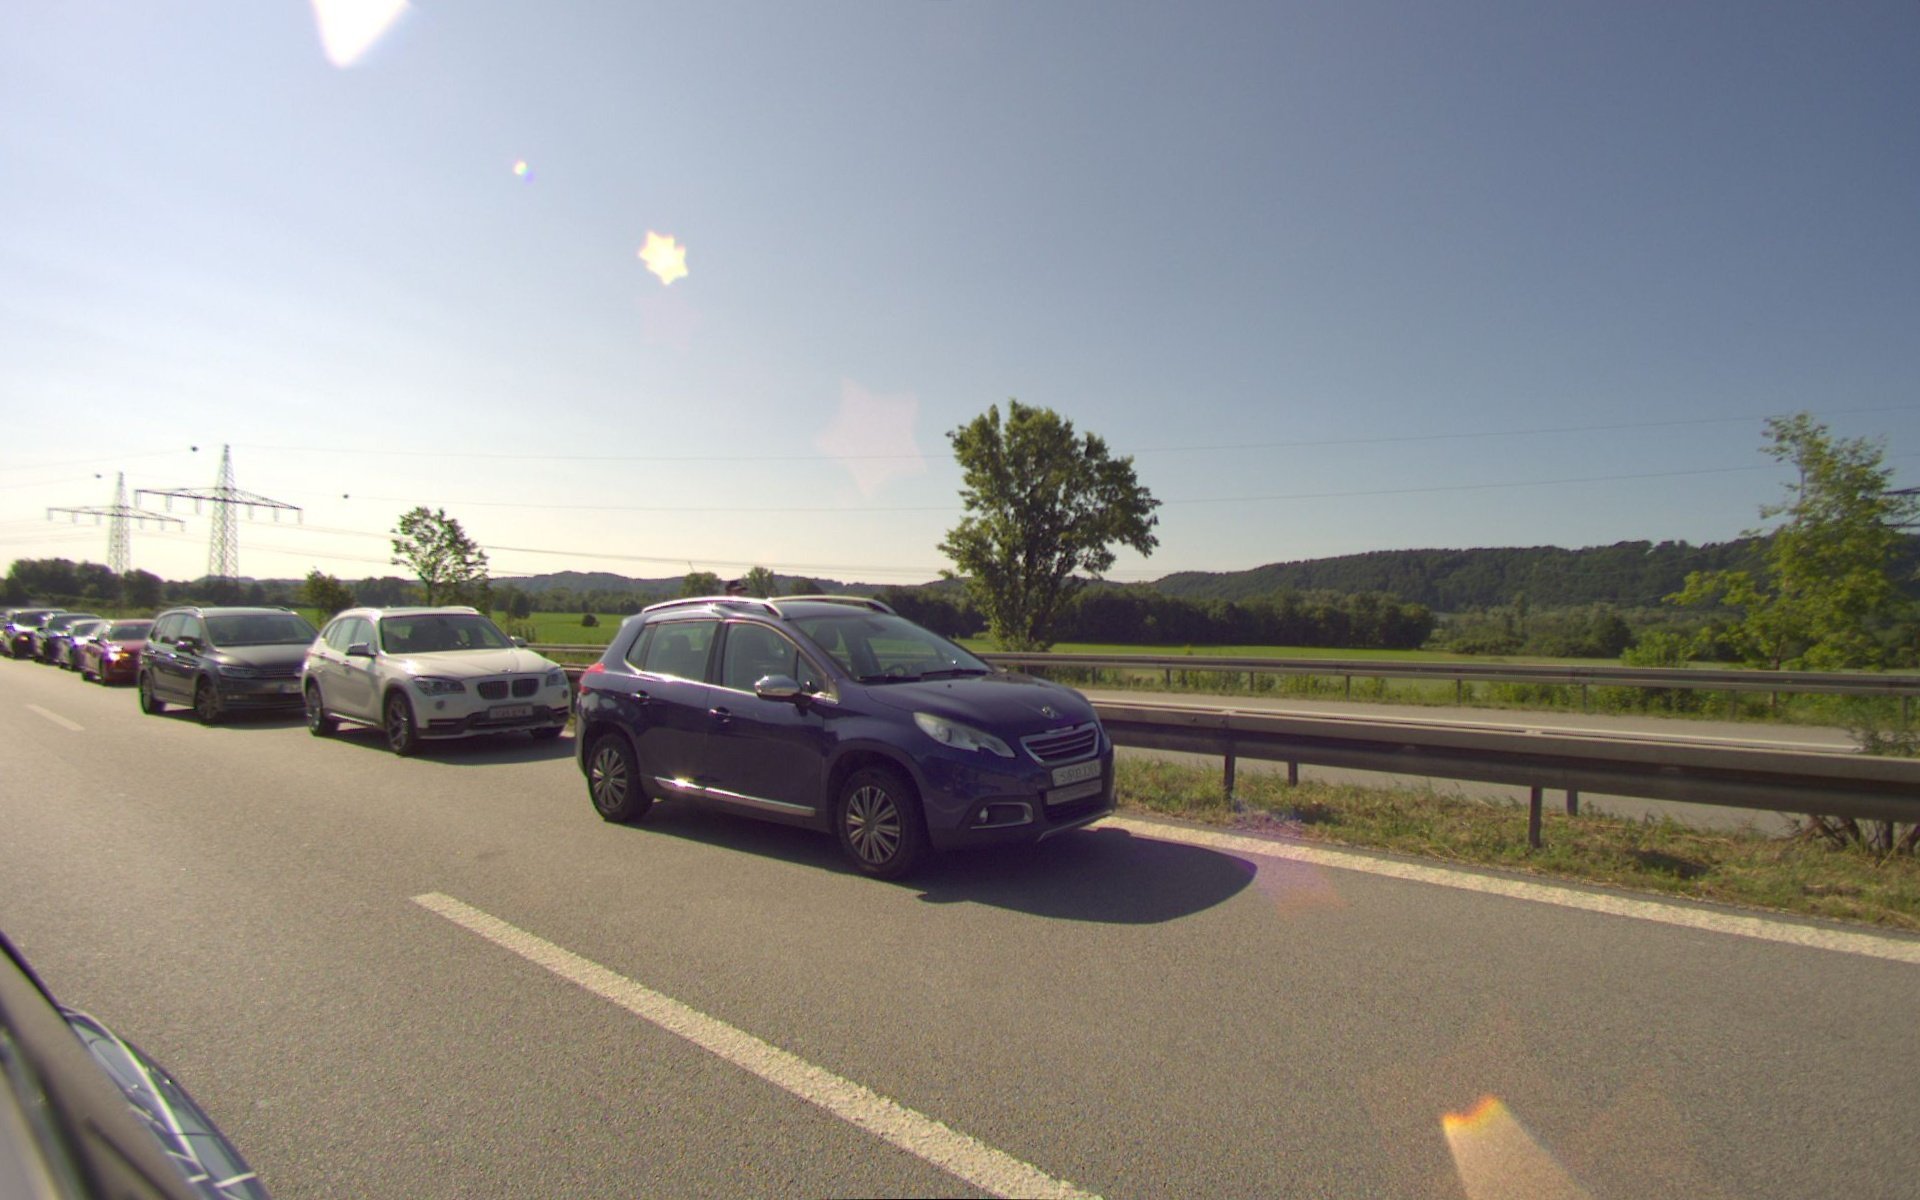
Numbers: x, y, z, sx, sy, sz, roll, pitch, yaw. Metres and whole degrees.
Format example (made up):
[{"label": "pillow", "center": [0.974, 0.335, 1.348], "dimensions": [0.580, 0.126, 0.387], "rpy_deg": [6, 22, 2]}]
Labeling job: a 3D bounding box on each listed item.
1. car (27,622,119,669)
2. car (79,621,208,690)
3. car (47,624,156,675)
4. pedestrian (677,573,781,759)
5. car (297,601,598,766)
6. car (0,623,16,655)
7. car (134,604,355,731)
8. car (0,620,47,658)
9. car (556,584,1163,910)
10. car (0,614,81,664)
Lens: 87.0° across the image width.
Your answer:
[{"label": "car", "center": [-29.715, 1.487, 33.872], "dimensions": [3.999, 1.466, 1.869], "rpy_deg": [-1, -2, 42]}, {"label": "car", "center": [-19.073, 1.240, 23.582], "dimensions": [4.117, 1.470, 1.795], "rpy_deg": [-1, -2, 43]}, {"label": "car", "center": [-25.254, 1.408, 29.725], "dimensions": [3.998, 1.409, 1.870], "rpy_deg": [-1, -2, 41]}, {"label": "pedestrian", "center": [-2.309, 0.634, 10.118], "dimensions": [0.814, 1.764, 0.663], "rpy_deg": [-1, -2, 41]}, {"label": "car", "center": [-6.113, 0.848, 11.858], "dimensions": [4.163, 1.586, 1.808], "rpy_deg": [-1, -1, 42]}, {"label": "car", "center": [-47.401, 1.886, 49.080], "dimensions": [3.998, 1.542, 1.973], "rpy_deg": [-1, -2, 41]}, {"label": "car", "center": [-10.803, 0.919, 15.169], "dimensions": [4.115, 1.628, 1.796], "rpy_deg": [-1, -1, 41]}, {"label": "car", "center": [-40.405, 1.634, 42.973], "dimensions": [3.998, 1.542, 1.973], "rpy_deg": [-1, -2, 41]}, {"label": "car", "center": [-0.837, 0.721, 6.701], "dimensions": [3.944, 1.546, 1.671], "rpy_deg": [-1, 0, 39]}, {"label": "car", "center": [-34.928, 1.443, 38.349], "dimensions": [4.198, 1.801, 1.877], "rpy_deg": [-1, -2, 41]}]
